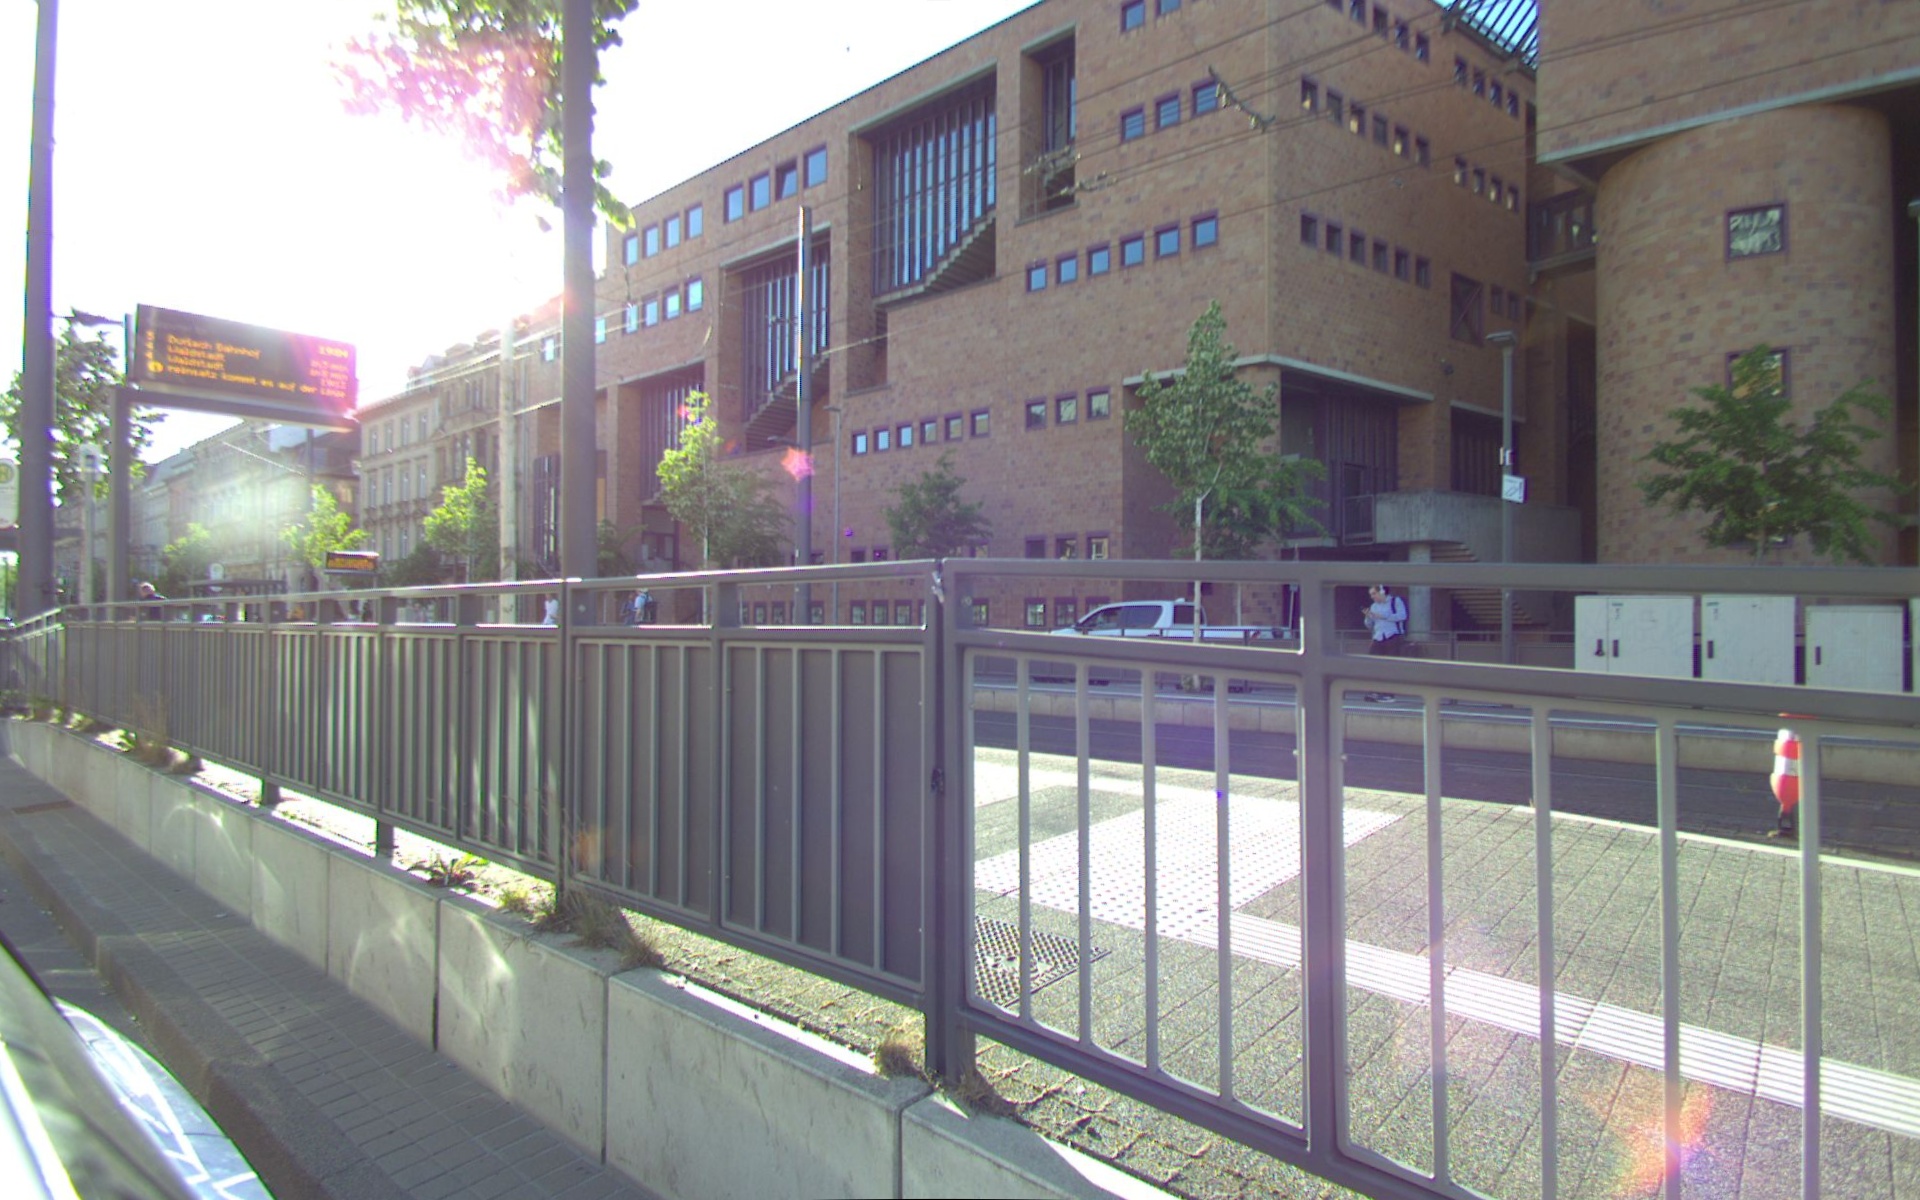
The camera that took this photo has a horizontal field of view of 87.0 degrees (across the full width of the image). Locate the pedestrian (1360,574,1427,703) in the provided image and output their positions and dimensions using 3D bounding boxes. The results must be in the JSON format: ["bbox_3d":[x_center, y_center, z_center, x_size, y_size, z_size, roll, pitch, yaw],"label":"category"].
[{"bbox_3d":[5.761,0.494,13.441,0.684,1.647,0.660,0,0,37],"label":"pedestrian"}]

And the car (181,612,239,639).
[{"bbox_3d":[-44.673,1.496,60.251,4.238,1.580,1.807,0,-2,40],"label":"car"}]

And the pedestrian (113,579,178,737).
[{"bbox_3d":[-13.055,0.896,16.220,0.625,2.461,0.676,0,0,38],"label":"pedestrian"}]

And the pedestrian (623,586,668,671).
[{"bbox_3d":[-6.891,0.607,22.181,0.668,1.821,0.677,0,0,40],"label":"pedestrian"}]

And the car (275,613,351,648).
[{"bbox_3d":[-31.589,1.462,49.378,4.691,1.580,1.806,0,-2,40],"label":"car"}]

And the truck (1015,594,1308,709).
[{"bbox_3d":[3.689,0.949,19.148,5.151,1.894,1.973,-2,-4,40],"label":"truck"}]
